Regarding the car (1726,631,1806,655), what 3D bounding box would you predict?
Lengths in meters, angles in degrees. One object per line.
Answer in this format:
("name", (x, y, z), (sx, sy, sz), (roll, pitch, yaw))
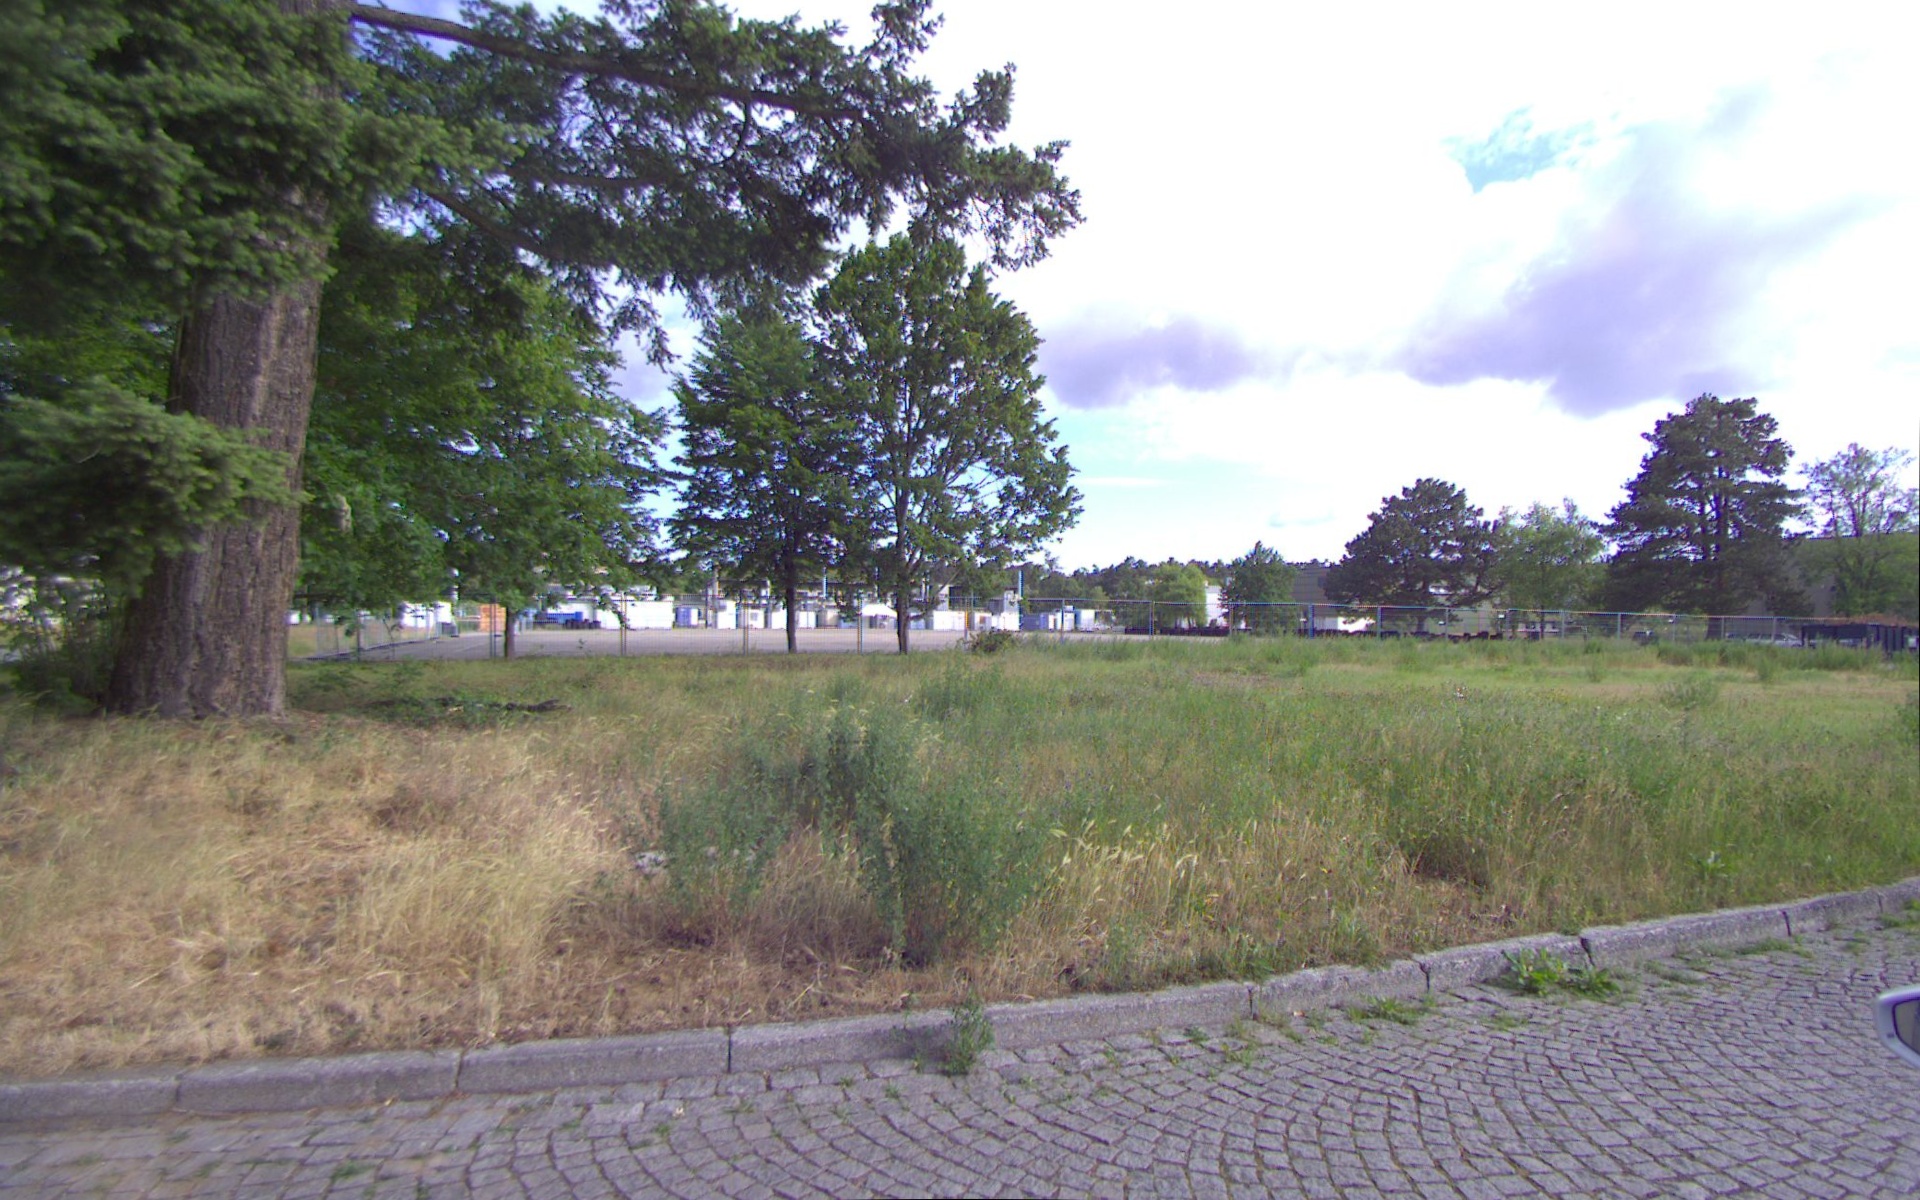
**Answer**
("car", (56.098, 2.952, 69.995), (1.782, 1.574, 3.980), (1, -1, -21))
